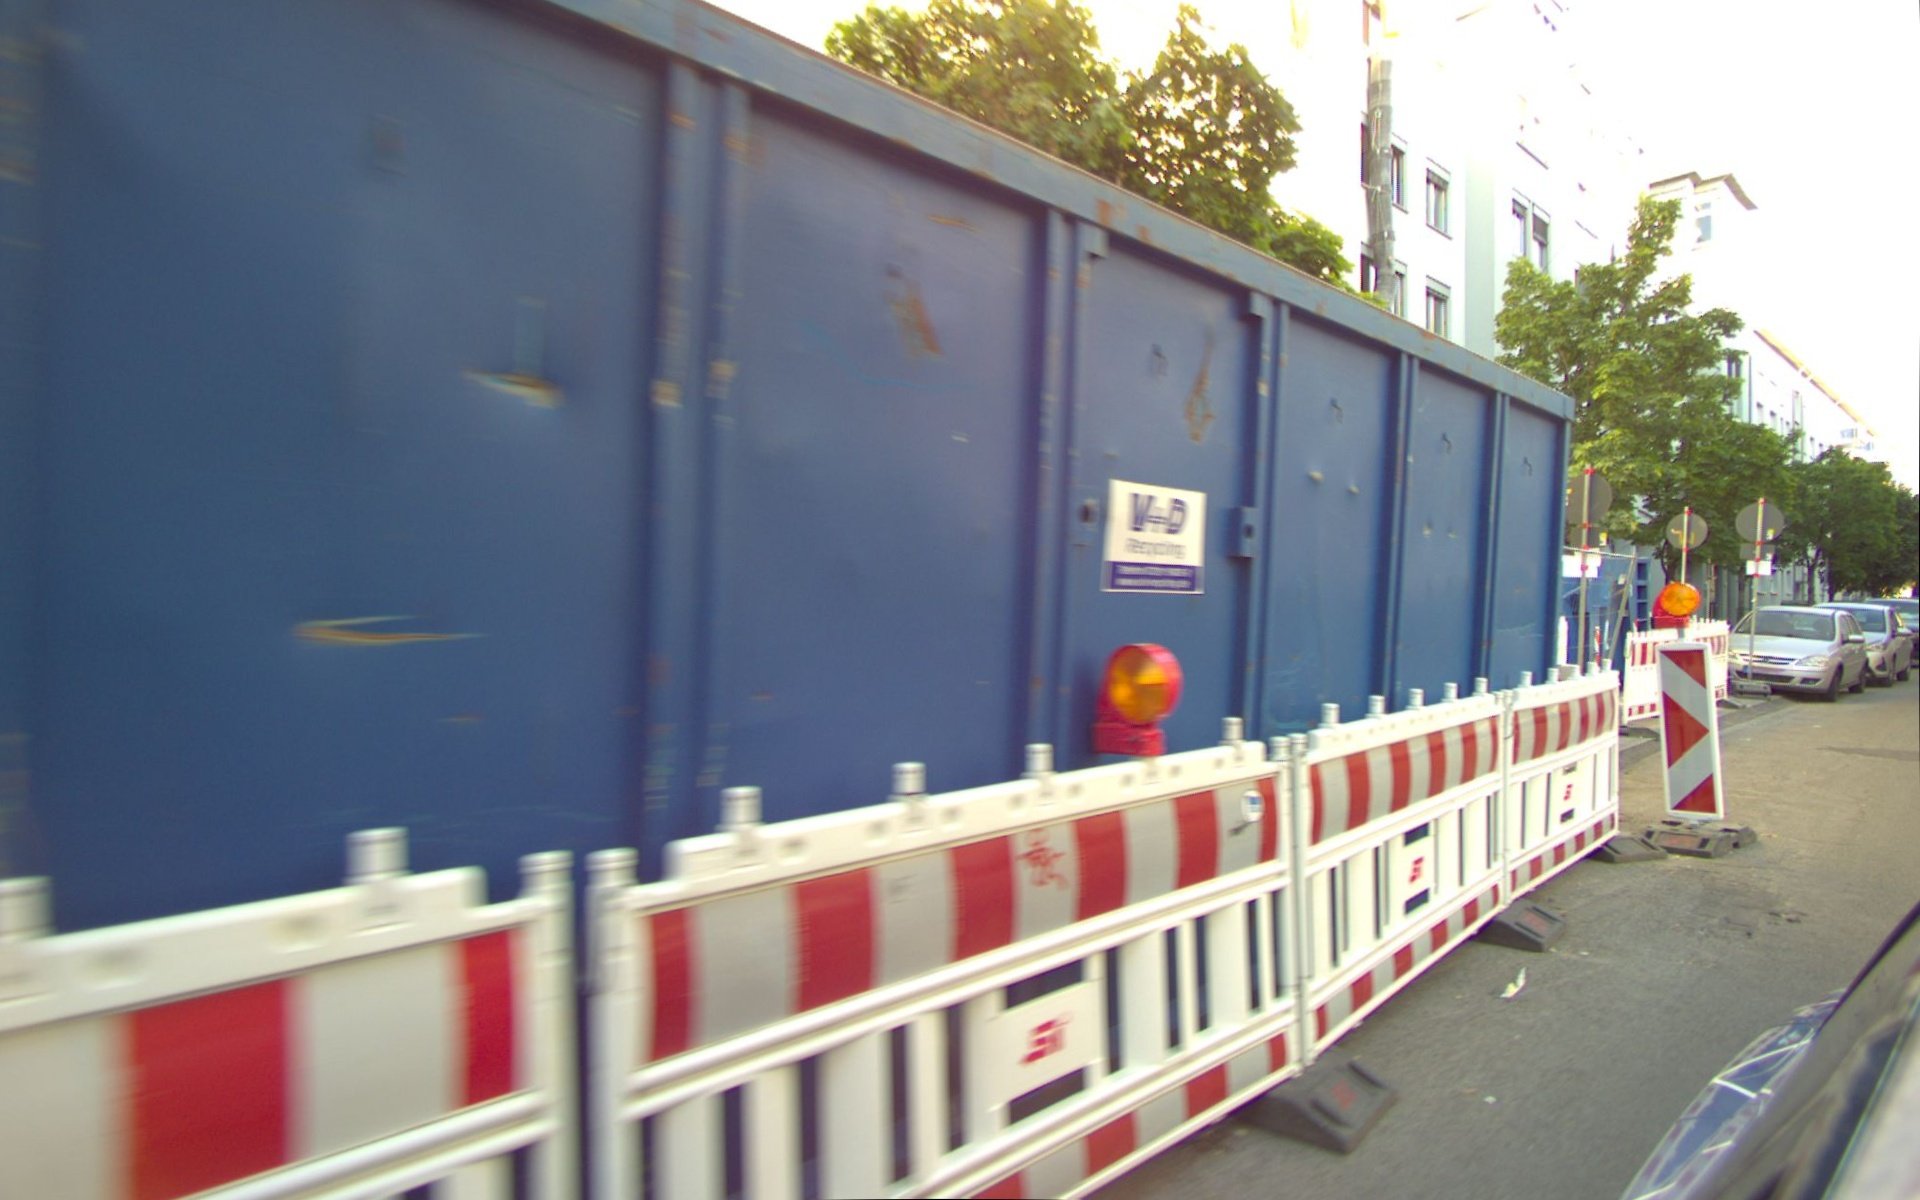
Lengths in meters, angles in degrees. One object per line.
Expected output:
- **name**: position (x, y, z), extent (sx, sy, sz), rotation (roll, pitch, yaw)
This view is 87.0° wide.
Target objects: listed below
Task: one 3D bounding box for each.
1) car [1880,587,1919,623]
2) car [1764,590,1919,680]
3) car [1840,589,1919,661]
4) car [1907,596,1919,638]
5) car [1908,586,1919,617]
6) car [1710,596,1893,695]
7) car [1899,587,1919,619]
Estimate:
- **car**: position (54.824, 0.267, 58.593), extent (3.933, 2.039, 1.995), rotation (0, -1, -43)
- **car**: position (17.601, 0.627, 19.980), extent (3.929, 1.605, 1.912), rotation (0, -1, -40)
- **car**: position (24.144, 0.582, 25.867), extent (4.313, 1.711, 1.862), rotation (0, -1, -41)
- **car**: position (35.847, 0.594, 36.743), extent (3.933, 1.508, 1.852), rotation (0, -1, -43)
- **car**: position (65.061, 0.097, 67.776), extent (3.933, 2.039, 1.995), rotation (0, -1, -43)
- **car**: position (14.171, 0.685, 16.968), extent (3.994, 1.466, 1.637), rotation (0, -1, -40)
- **car**: position (61.747, 0.186, 64.861), extent (3.933, 2.039, 1.995), rotation (0, -1, -43)
